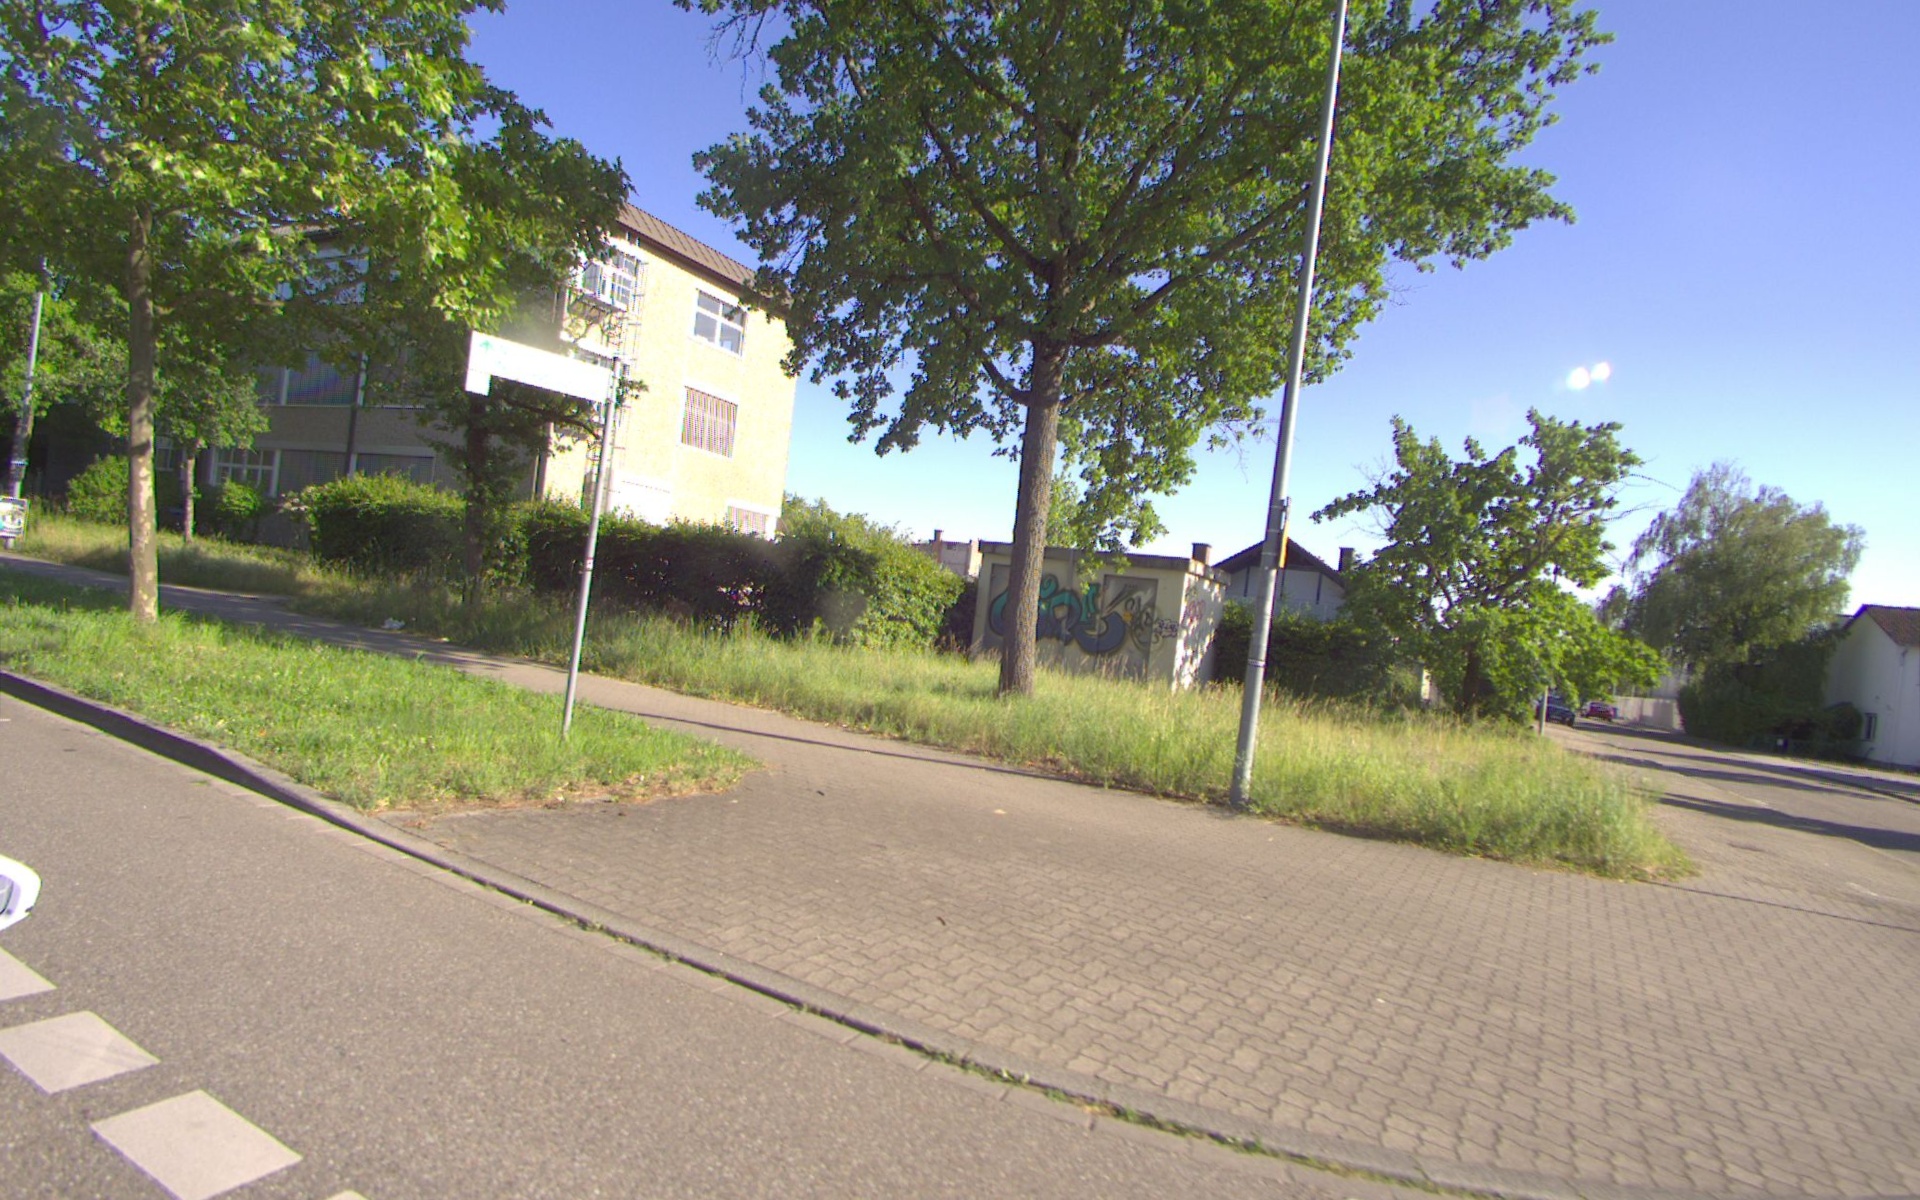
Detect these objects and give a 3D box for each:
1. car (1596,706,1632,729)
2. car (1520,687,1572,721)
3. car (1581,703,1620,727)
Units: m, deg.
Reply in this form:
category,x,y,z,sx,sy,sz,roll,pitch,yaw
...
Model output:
category,x,y,z,sx,sy,sz,roll,pitch,yaw
car,60.029,10.755,92.398,1.964,1.815,4.001,6,-2,24
car,32.751,5.825,56.339,1.964,1.558,4.001,6,-2,24
car,51.603,9.270,81.145,1.964,1.558,4.001,6,-2,24
